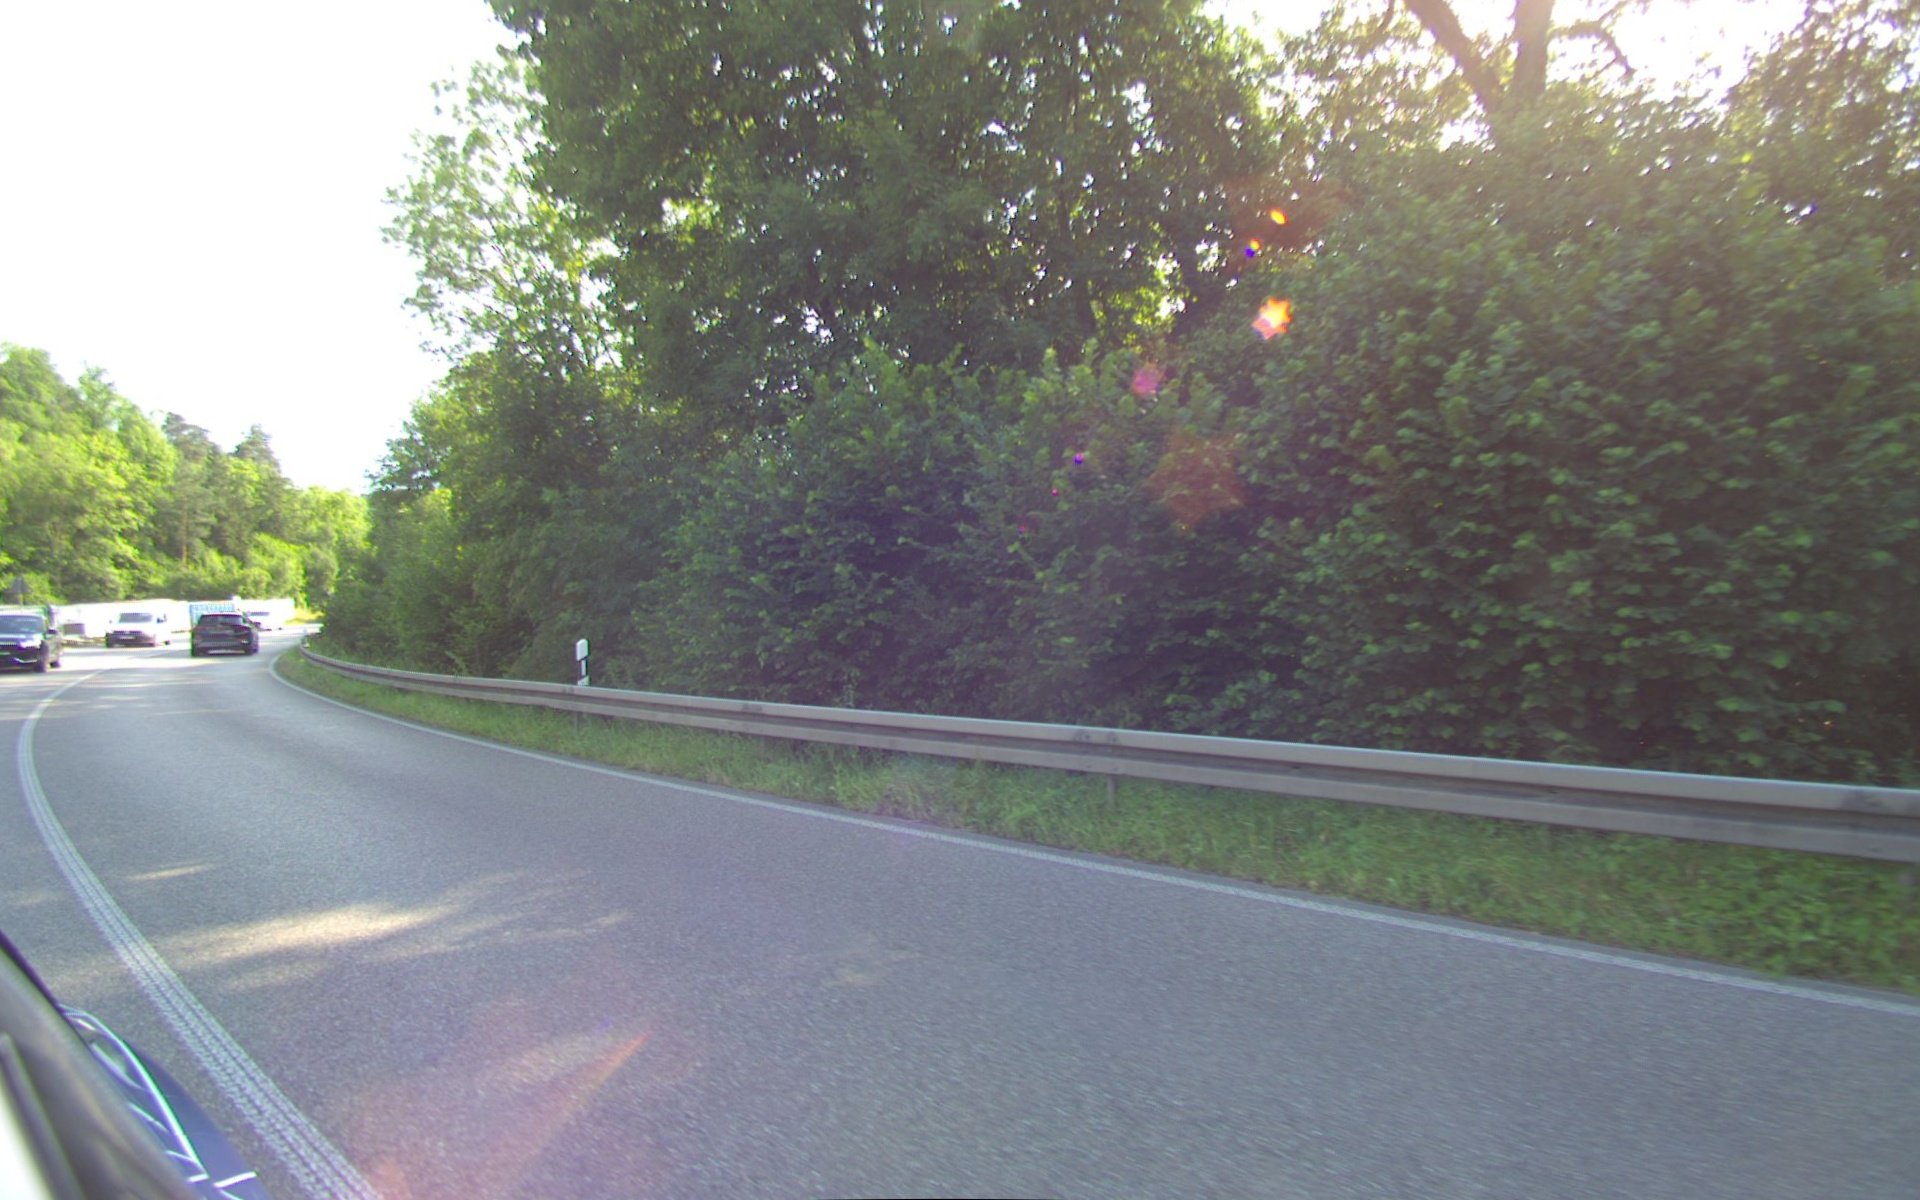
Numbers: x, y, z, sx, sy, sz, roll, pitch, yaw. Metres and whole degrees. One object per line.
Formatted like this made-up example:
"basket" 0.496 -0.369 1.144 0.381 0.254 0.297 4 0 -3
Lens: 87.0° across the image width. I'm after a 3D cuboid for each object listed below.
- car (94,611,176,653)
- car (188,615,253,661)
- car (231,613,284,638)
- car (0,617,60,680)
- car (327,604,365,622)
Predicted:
"car" -37.589 1.416 46.243 1.837 1.733 4.779 -2 1 -26
"car" -28.440 1.461 39.021 1.842 1.666 4.561 1 -2 -34
"car" -47.679 1.715 68.753 1.865 1.456 4.490 -3 2 -21
"car" -26.439 1.298 28.081 1.820 1.581 4.267 0 0 -37
"car" -54.956 1.159 90.703 1.829 1.431 4.433 -3 1 -17
